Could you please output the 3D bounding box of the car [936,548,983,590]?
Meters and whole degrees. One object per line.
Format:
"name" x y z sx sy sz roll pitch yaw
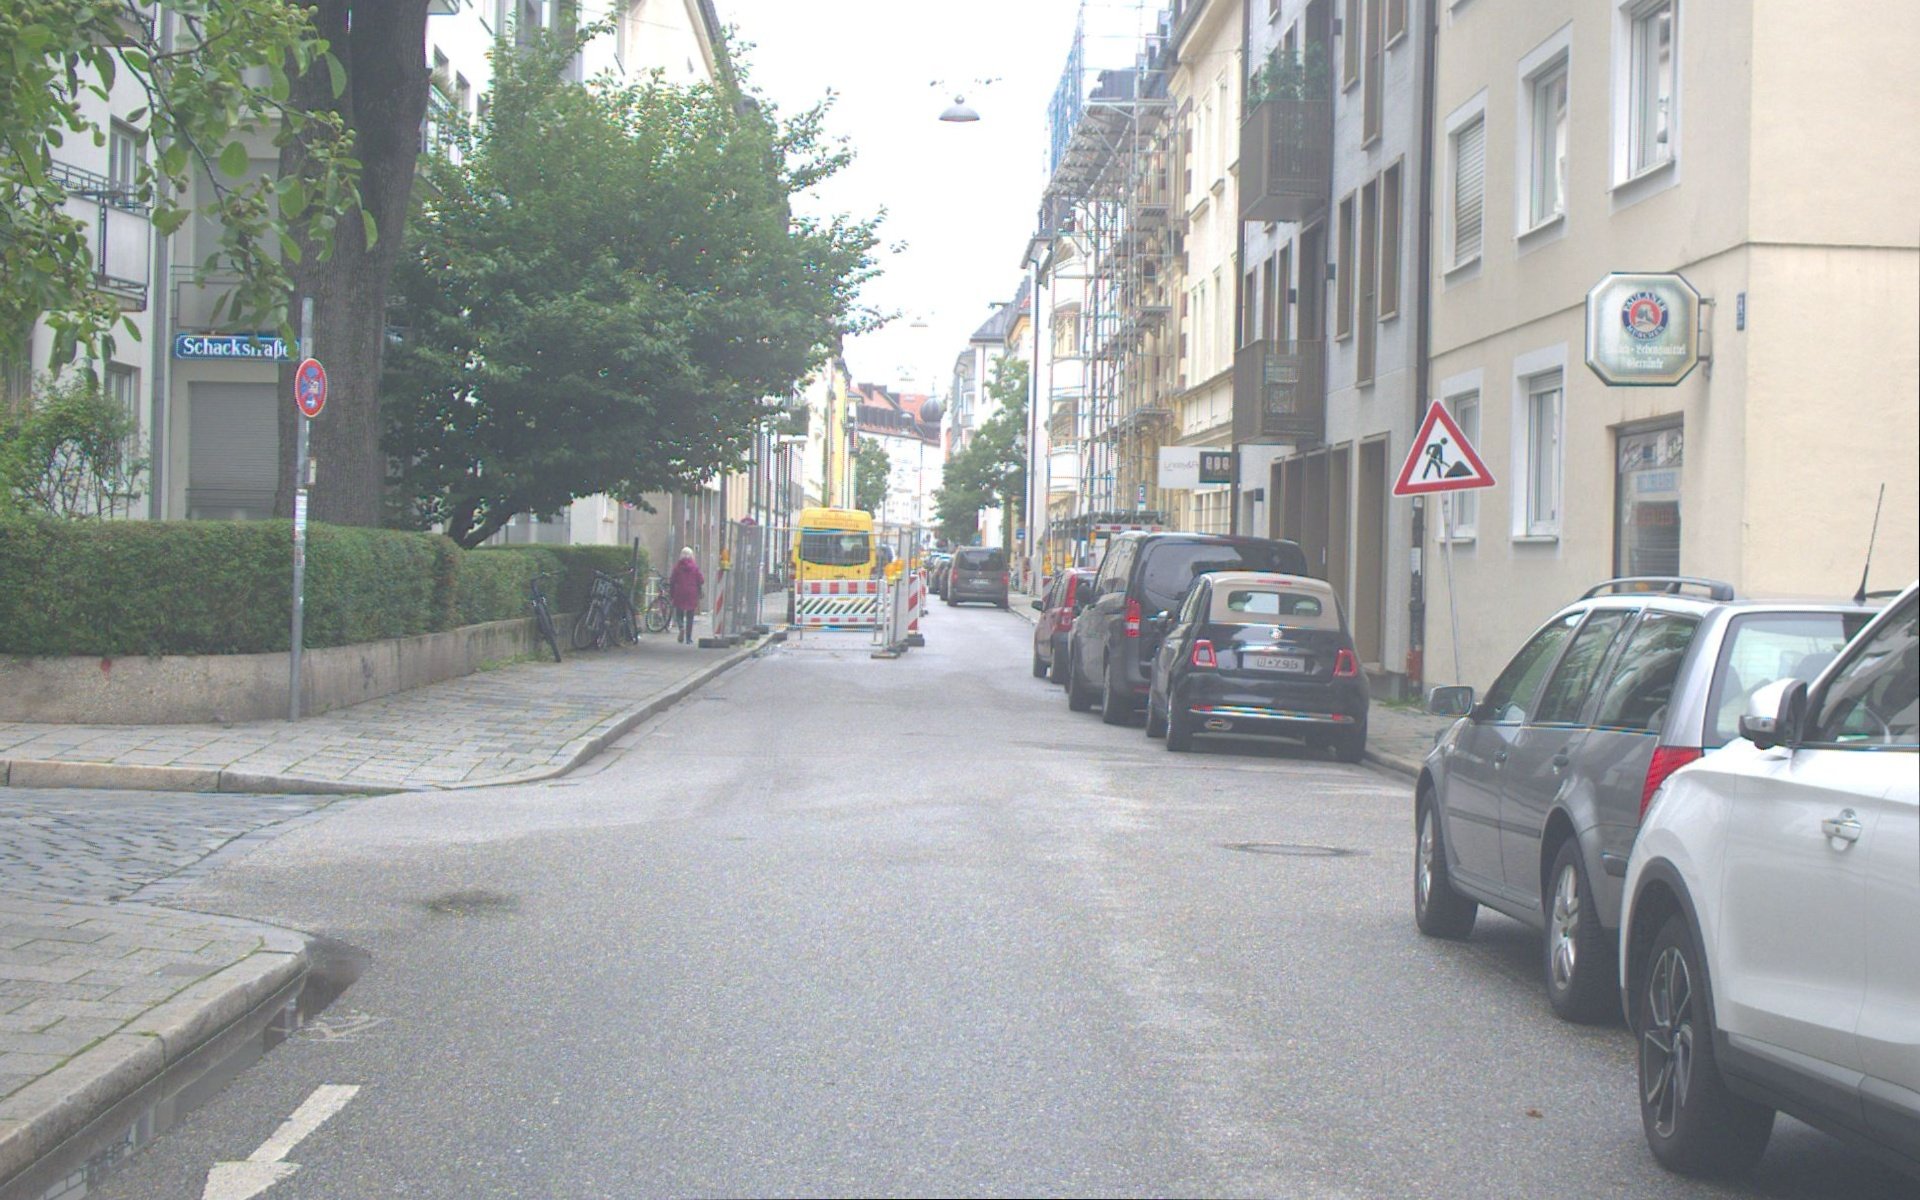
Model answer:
"car" -0.047 -1.255 139.668 1.801 1.608 4.000 2 1 -1

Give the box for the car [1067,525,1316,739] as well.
"car" 2.194 0.262 33.602 1.801 1.814 4.001 5 1 -3

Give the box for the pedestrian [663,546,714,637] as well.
"pedestrian" -4.473 -0.137 56.666 0.756 1.486 0.831 1 0 -1

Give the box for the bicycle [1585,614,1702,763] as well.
"bicycle" 4.964 0.627 25.027 0.474 1.022 1.705 -1 0 -1

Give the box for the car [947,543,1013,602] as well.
"car" 0.625 -0.909 111.156 1.801 1.706 3.827 5 1 -3

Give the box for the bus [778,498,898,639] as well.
"bus" -2.760 -0.715 79.432 2.592 3.091 6.306 1 0 -1

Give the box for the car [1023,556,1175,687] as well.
"car" 1.802 0.253 45.483 1.635 1.509 3.829 5 1 -1

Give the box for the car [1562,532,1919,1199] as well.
"car" 2.630 0.689 7.203 1.748 1.624 4.197 1 1 -3

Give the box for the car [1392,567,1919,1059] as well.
"car" 2.783 0.640 12.416 1.744 1.440 4.000 2 1 -2

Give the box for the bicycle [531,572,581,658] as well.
"bicycle" -4.903 0.178 41.763 0.414 1.017 1.854 1 0 -1

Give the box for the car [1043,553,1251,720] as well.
"car" 1.990 0.353 37.697 1.801 1.562 4.000 5 1 -2

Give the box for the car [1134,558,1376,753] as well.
"car" 2.441 0.419 29.245 1.624 1.482 3.808 2 1 -1

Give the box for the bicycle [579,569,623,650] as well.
"bicycle" -4.931 0.121 47.301 0.446 1.069 2.468 1 0 -3

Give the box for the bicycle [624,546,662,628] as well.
"bicycle" -5.529 -0.227 60.098 0.514 1.413 1.934 1 0 -1
